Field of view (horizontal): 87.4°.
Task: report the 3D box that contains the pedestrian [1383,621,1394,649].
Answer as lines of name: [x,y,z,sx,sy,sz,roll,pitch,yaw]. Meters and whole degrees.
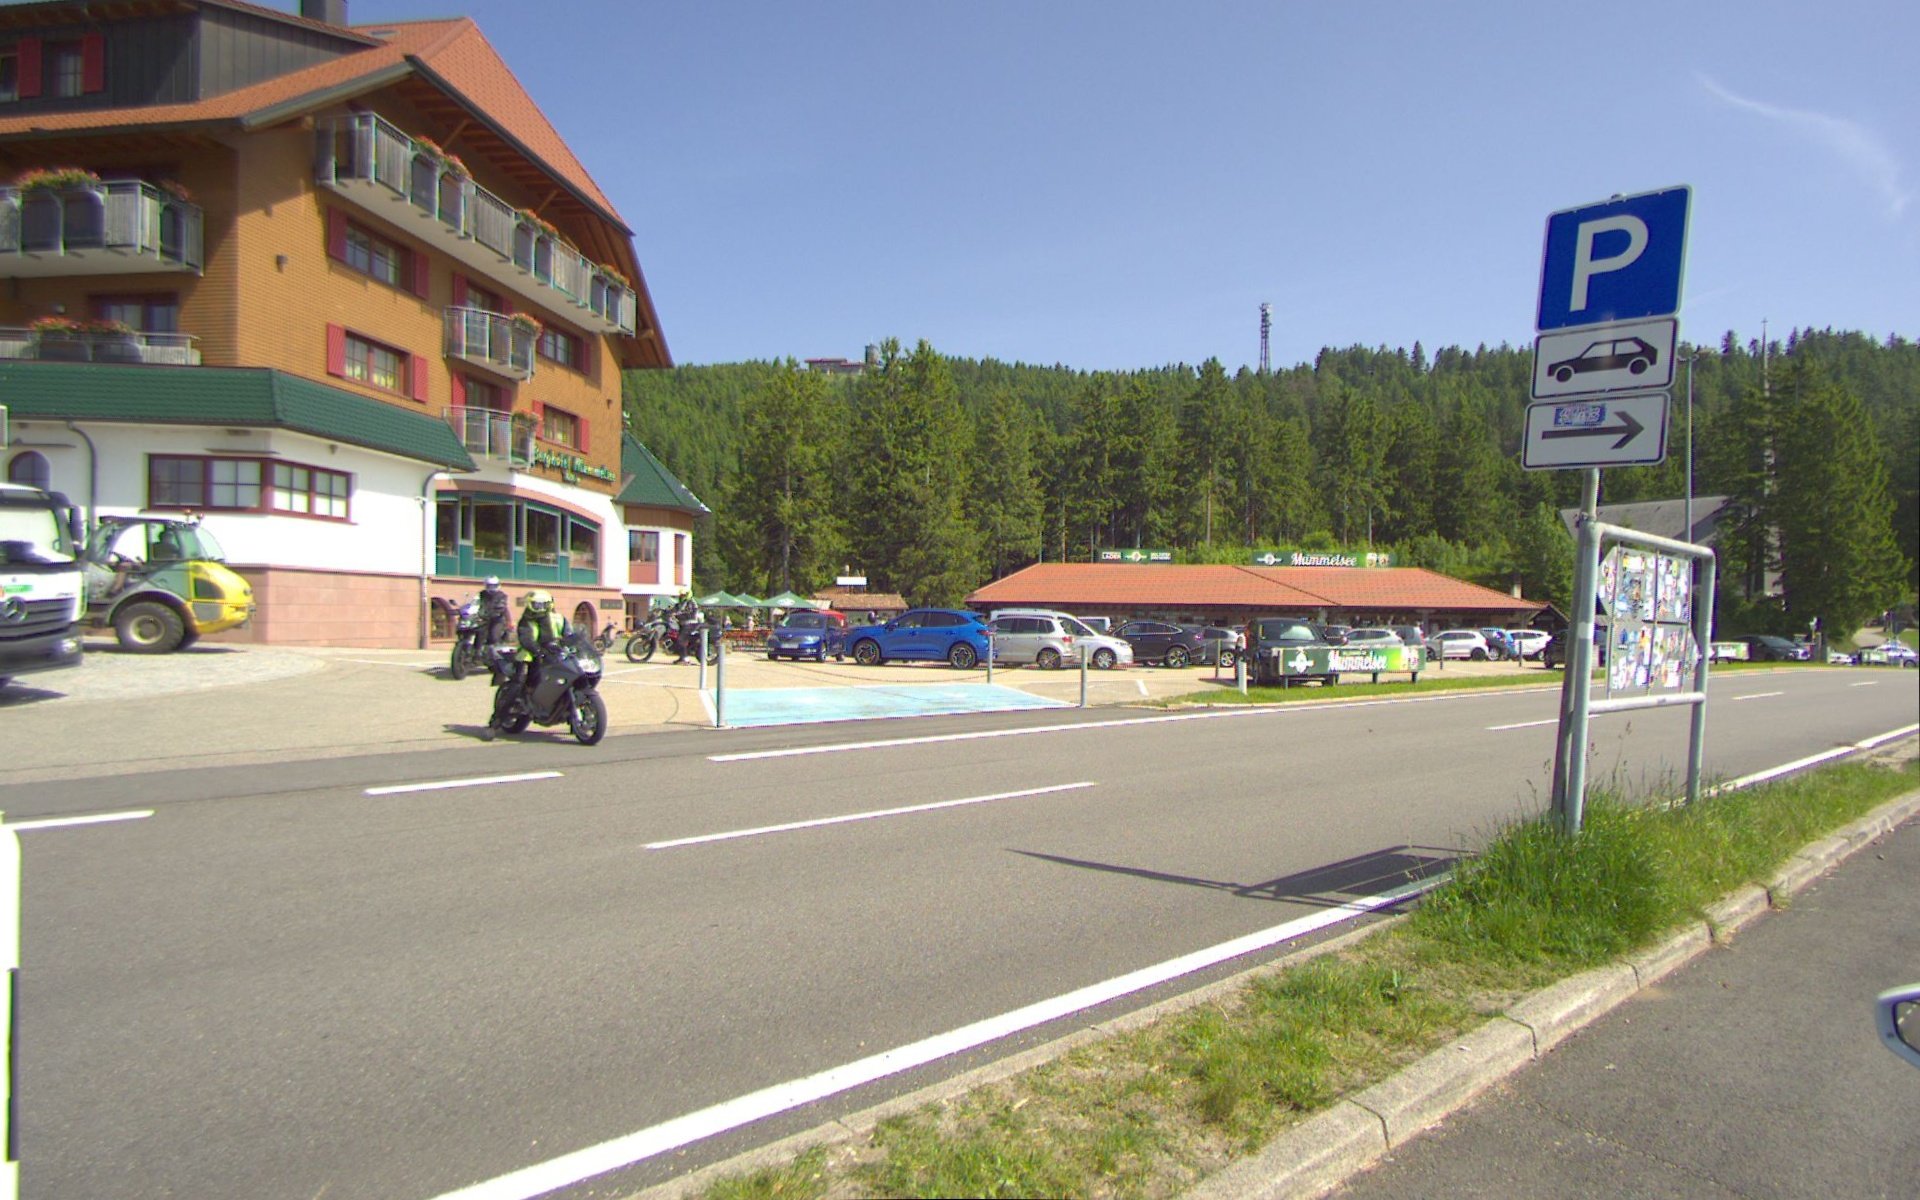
pedestrian: [29.289,2.374,68.634,0.518,1.898,0.547,2,-1,5]

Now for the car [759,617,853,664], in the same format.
car: [-4.561,1.178,30.313,1.679,1.314,4.003,0,-1,8]

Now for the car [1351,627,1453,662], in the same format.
car: [20.213,2.021,46.104,3.919,1.565,1.901,0,-1,8]

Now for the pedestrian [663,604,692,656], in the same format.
pedestrian: [-9.141,0.954,32.490,0.613,1.654,0.703,0,-1,15]

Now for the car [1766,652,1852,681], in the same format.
car: [47.736,3.724,56.572,1.708,1.460,3.973,0,-2,5]

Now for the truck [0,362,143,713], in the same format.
truck: [-15.315,-0.921,11.898,8.600,4.025,3.069,3,2,-1]

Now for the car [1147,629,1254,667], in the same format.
car: [8.609,1.712,36.175,3.566,1.339,1.588,0,-1,5]

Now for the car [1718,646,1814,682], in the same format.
car: [42.531,3.344,53.149,1.754,1.655,4.212,2,-1,2]

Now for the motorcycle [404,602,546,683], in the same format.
motorcycle: [-8.406,0.703,17.557,0.862,1.273,2.277,3,1,18]

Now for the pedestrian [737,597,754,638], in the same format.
pedestrian: [-12.462,1.024,58.378,0.804,2.314,0.727,-2,-1,-21]

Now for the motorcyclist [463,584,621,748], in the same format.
motorcyclist: [-4.624,0.689,11.151,1.269,1.697,1.028,0,-1,27]

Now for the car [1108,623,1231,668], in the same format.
car: [7.020,1.514,34.063,3.919,1.449,1.915,0,-1,6]

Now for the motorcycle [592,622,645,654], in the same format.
motorcycle: [-12.598,1.403,37.095,1.756,0.999,0.480,4,5,-2]

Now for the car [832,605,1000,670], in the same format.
car: [-1.181,1.033,28.420,4.453,1.686,1.941,1,-1,6]

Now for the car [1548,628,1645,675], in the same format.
car: [23.106,1.836,36.619,1.747,1.572,4.003,0,-1,13]

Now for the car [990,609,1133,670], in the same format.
car: [3.287,1.233,32.176,4.438,1.888,1.837,0,-1,9]

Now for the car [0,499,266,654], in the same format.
car: [-15.438,-0.342,18.668,3.957,2.528,1.982,3,-3,-33]

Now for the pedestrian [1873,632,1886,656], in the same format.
pedestrian: [67.255,3.240,73.481,0.639,1.688,0.646,5,-3,-44]

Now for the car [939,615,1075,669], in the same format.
car: [1.473,1.254,30.411,3.919,1.566,2.001,0,-1,8]

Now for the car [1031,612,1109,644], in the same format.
car: [5.453,1.390,50.053,3.803,1.550,1.911,0,-1,4]

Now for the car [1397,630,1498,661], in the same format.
car: [23.175,2.162,47.833,3.919,1.439,1.909,0,-1,7]

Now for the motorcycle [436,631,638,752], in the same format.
motorcycle: [-4.741,0.971,11.224,2.244,1.192,0.824,0,-1,27]

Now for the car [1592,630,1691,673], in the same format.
car: [27.811,2.052,41.162,1.705,1.588,4.062,1,-1,8]

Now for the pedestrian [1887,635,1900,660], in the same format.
pedestrian: [68.075,3.459,73.265,0.639,1.823,0.646,1,0,-45]

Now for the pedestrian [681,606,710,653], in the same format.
pedestrian: [-8.527,0.953,32.411,0.613,1.509,0.703,0,-1,15]

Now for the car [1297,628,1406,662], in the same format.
car: [16.304,1.863,41.968,3.919,1.389,1.813,0,-1,7]

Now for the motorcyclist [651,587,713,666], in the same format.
motorcyclist: [-6.425,0.605,23.288,1.226,1.742,1.062,3,-1,-13]

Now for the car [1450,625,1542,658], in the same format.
car: [28.845,2.242,54.134,3.949,1.694,1.778,0,-2,6]

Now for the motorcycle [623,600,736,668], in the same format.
motorcycle: [-6.455,0.779,23.257,2.403,1.425,1.003,3,-1,-13]

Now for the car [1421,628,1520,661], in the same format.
car: [25.316,2.206,49.901,3.919,1.595,2.001,0,-1,7]

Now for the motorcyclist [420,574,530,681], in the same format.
motorcyclist: [-8.414,0.457,17.478,0.907,1.740,1.452,3,1,18]

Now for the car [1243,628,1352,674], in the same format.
car: [13.373,1.999,39.961,3.919,1.726,1.827,0,-1,12]

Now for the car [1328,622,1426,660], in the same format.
car: [18.205,1.790,44.000,3.657,1.609,1.736,0,-1,7]

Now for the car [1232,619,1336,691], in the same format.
car: [7.588,1.231,23.889,1.771,1.560,4.195,0,-1,10]
